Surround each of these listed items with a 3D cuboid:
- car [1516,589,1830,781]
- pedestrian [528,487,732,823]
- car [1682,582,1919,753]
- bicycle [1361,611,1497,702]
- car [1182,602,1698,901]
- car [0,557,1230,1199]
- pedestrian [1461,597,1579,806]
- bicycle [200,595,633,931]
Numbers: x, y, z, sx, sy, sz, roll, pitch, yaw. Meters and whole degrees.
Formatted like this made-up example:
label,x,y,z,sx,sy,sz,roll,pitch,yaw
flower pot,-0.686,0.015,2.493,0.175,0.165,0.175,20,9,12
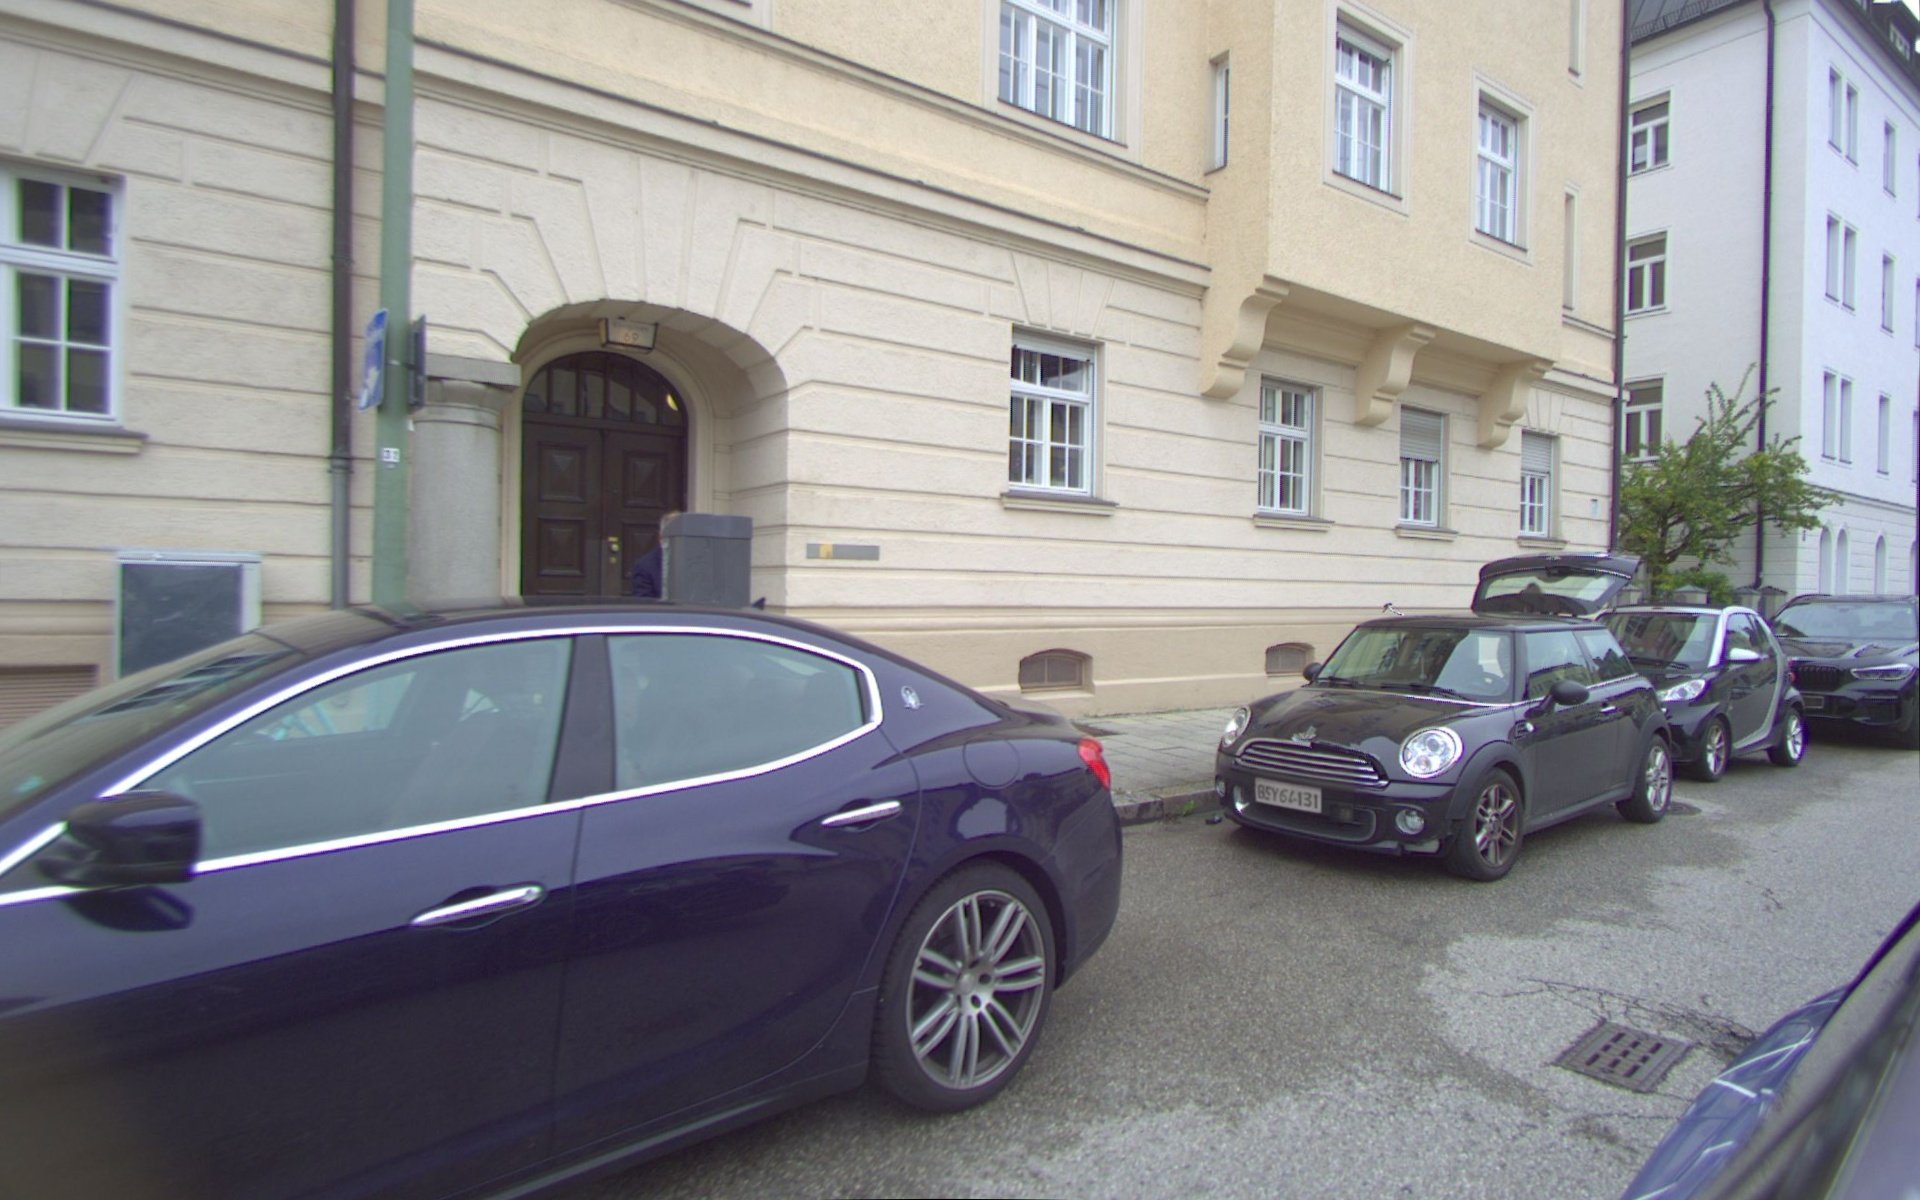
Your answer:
label,x,y,z,sx,sy,sz,roll,pitch,yaw
car,6.894,0.711,9.741,2.960,1.574,1.519,1,-1,-34
pedestrian,-1.846,0.264,5.651,0.901,1.710,0.620,1,4,-35
car,11.338,0.727,12.704,4.927,1.761,2.177,1,0,-35
bicycle,6.038,0.692,12.983,2.096,1.061,0.504,1,3,-34
car,3.285,0.761,6.674,3.611,1.435,1.635,1,-1,-38
car,-1.516,0.686,2.743,4.858,1.496,1.912,1,0,-40
pedestrian,4.392,0.758,7.942,0.567,1.548,0.630,1,-1,-36
bicycle,-2.411,0.621,4.600,1.639,1.274,0.638,0,0,-36
